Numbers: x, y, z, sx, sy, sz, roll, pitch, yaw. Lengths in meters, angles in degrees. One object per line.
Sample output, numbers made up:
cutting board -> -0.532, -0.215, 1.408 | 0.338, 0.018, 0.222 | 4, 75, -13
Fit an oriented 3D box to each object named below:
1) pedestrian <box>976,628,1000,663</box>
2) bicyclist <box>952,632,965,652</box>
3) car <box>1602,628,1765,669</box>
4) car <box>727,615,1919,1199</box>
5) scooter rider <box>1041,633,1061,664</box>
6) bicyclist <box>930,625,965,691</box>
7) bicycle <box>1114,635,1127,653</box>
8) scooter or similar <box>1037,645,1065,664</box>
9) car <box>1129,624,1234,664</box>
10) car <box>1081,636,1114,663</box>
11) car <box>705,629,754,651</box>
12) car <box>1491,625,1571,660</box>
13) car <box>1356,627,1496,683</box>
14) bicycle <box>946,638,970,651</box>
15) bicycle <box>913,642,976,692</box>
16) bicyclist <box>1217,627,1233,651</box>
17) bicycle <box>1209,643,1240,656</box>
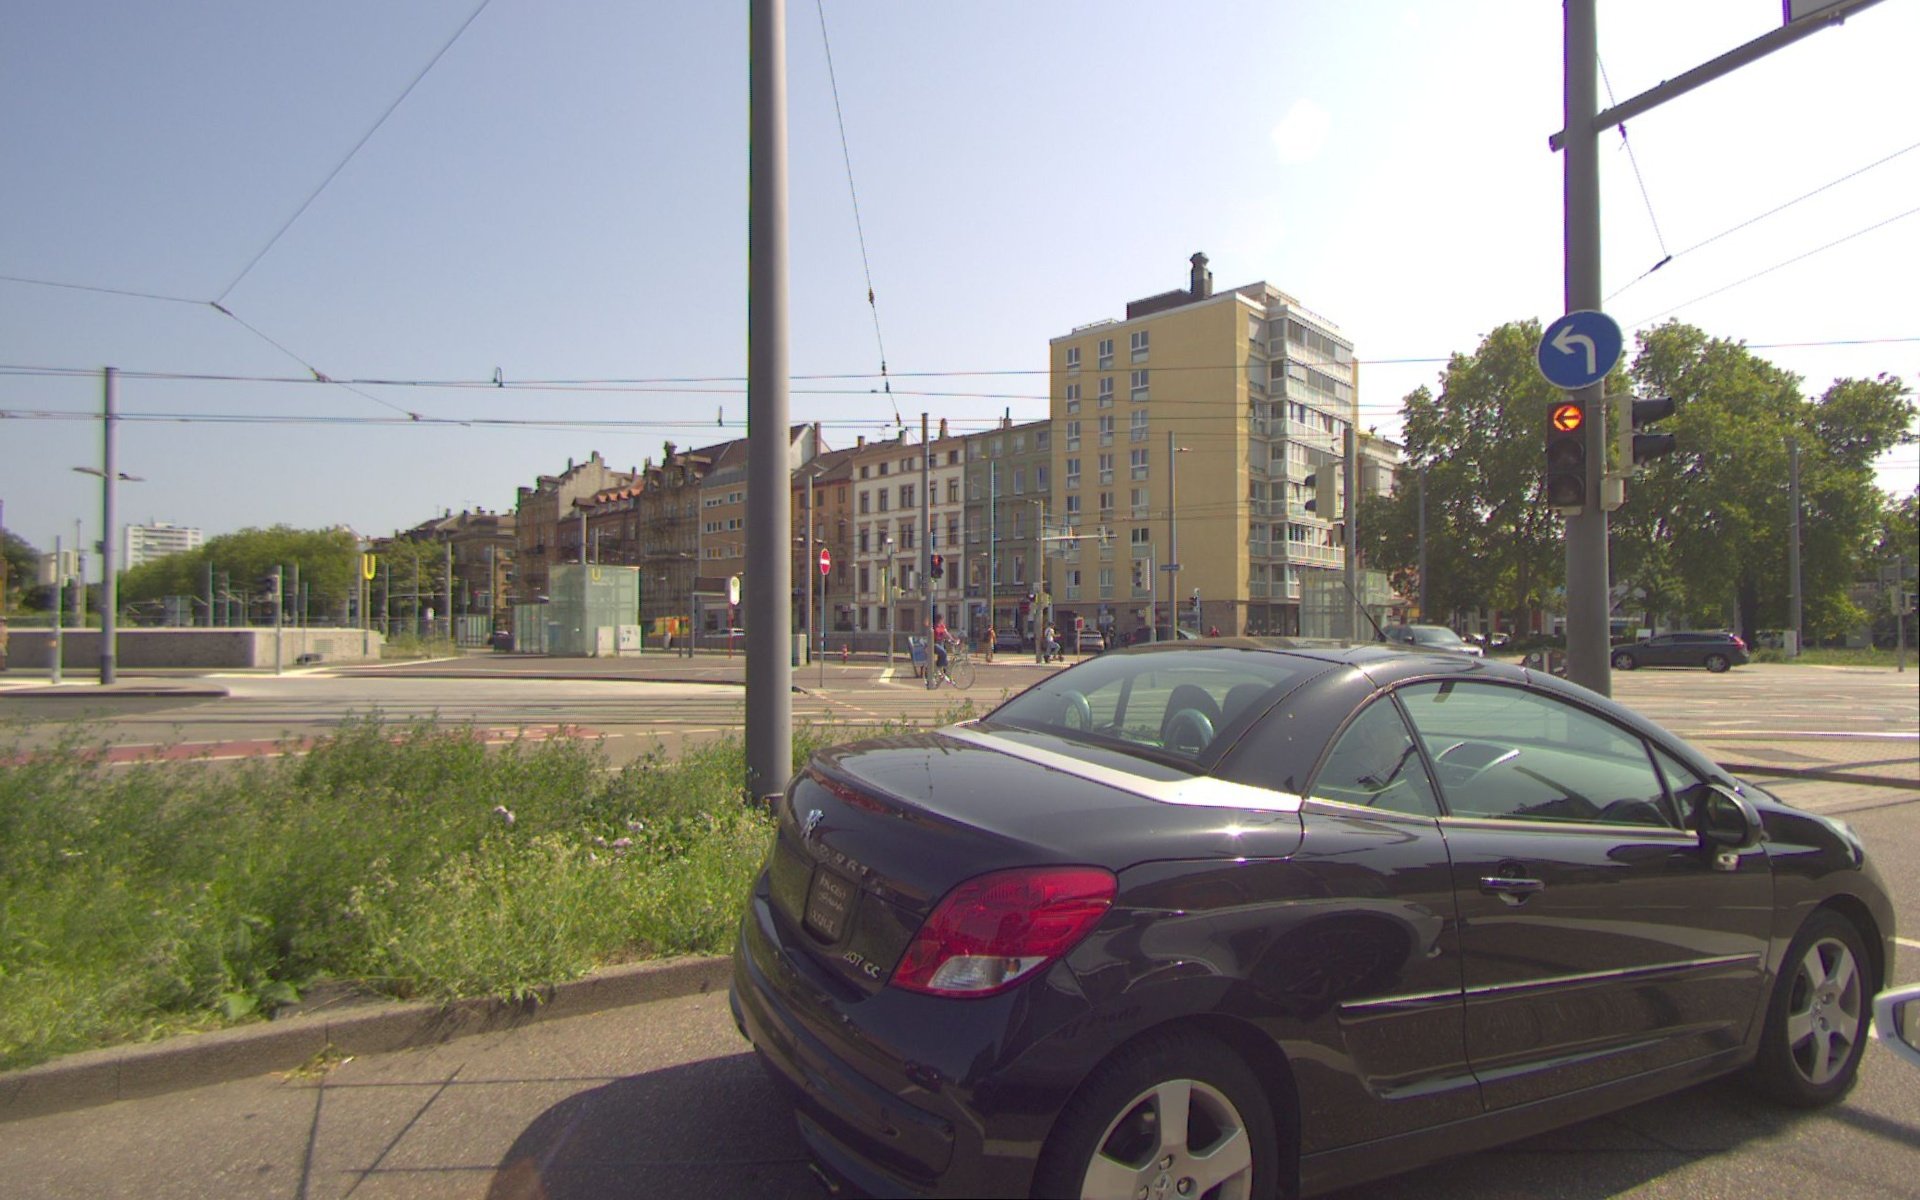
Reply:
pedestrian -> 1.272, 2.070, 45.402 | 0.853, 1.563, 0.733 | 2, -2, -45
bicyclist -> -0.115, 3.207, 76.798 | 0.897, 1.528, 0.558 | -1, -2, 31
car -> 26.546, 1.742, 36.953 | 4.700, 1.434, 1.767 | -1, -2, 42
car -> 1.310, 0.790, 3.283 | 3.732, 1.406, 1.759 | 1, 0, -27
scooter rider -> 3.997, 2.123, 44.120 | 0.602, 1.371, 0.682 | 1, -2, -36
bicyclist -> -0.308, 1.366, 23.907 | 0.632, 1.529, 0.553 | 1, -2, -36
bicycle -> 11.103, 3.044, 69.374 | 0.680, 1.220, 2.793 | 0, -2, 5
scooter or similar -> 3.990, 2.387, 43.994 | 1.132, 0.835, 0.517 | 1, -2, -35
car -> 9.325, 1.817, 42.503 | 1.725, 1.581, 4.160 | 1, -2, -40
car -> 8.347, 2.990, 61.373 | 1.712, 1.528, 4.002 | 0, -2, 4
car -> -17.959, 3.078, 78.231 | 1.743, 1.639, 4.280 | 2, -2, -44
car -> 35.004, 2.579, 61.609 | 3.946, 2.040, 1.919 | -1, -2, 44
car -> 14.413, 1.657, 31.352 | 1.739, 1.621, 4.537 | 1, -2, -9
bicycle -> -0.173, 3.398, 76.826 | 1.787, 0.954, 0.567 | -1, -2, 30
bicycle -> -0.383, 1.574, 23.897 | 0.499, 1.108, 1.918 | 1, -2, -35
bicyclist -> 16.566, 2.450, 62.817 | 0.861, 1.495, 0.543 | -1, -2, 43
bicycle -> 16.544, 3.084, 62.804 | 1.836, 0.813, 0.604 | -1, -2, 43
